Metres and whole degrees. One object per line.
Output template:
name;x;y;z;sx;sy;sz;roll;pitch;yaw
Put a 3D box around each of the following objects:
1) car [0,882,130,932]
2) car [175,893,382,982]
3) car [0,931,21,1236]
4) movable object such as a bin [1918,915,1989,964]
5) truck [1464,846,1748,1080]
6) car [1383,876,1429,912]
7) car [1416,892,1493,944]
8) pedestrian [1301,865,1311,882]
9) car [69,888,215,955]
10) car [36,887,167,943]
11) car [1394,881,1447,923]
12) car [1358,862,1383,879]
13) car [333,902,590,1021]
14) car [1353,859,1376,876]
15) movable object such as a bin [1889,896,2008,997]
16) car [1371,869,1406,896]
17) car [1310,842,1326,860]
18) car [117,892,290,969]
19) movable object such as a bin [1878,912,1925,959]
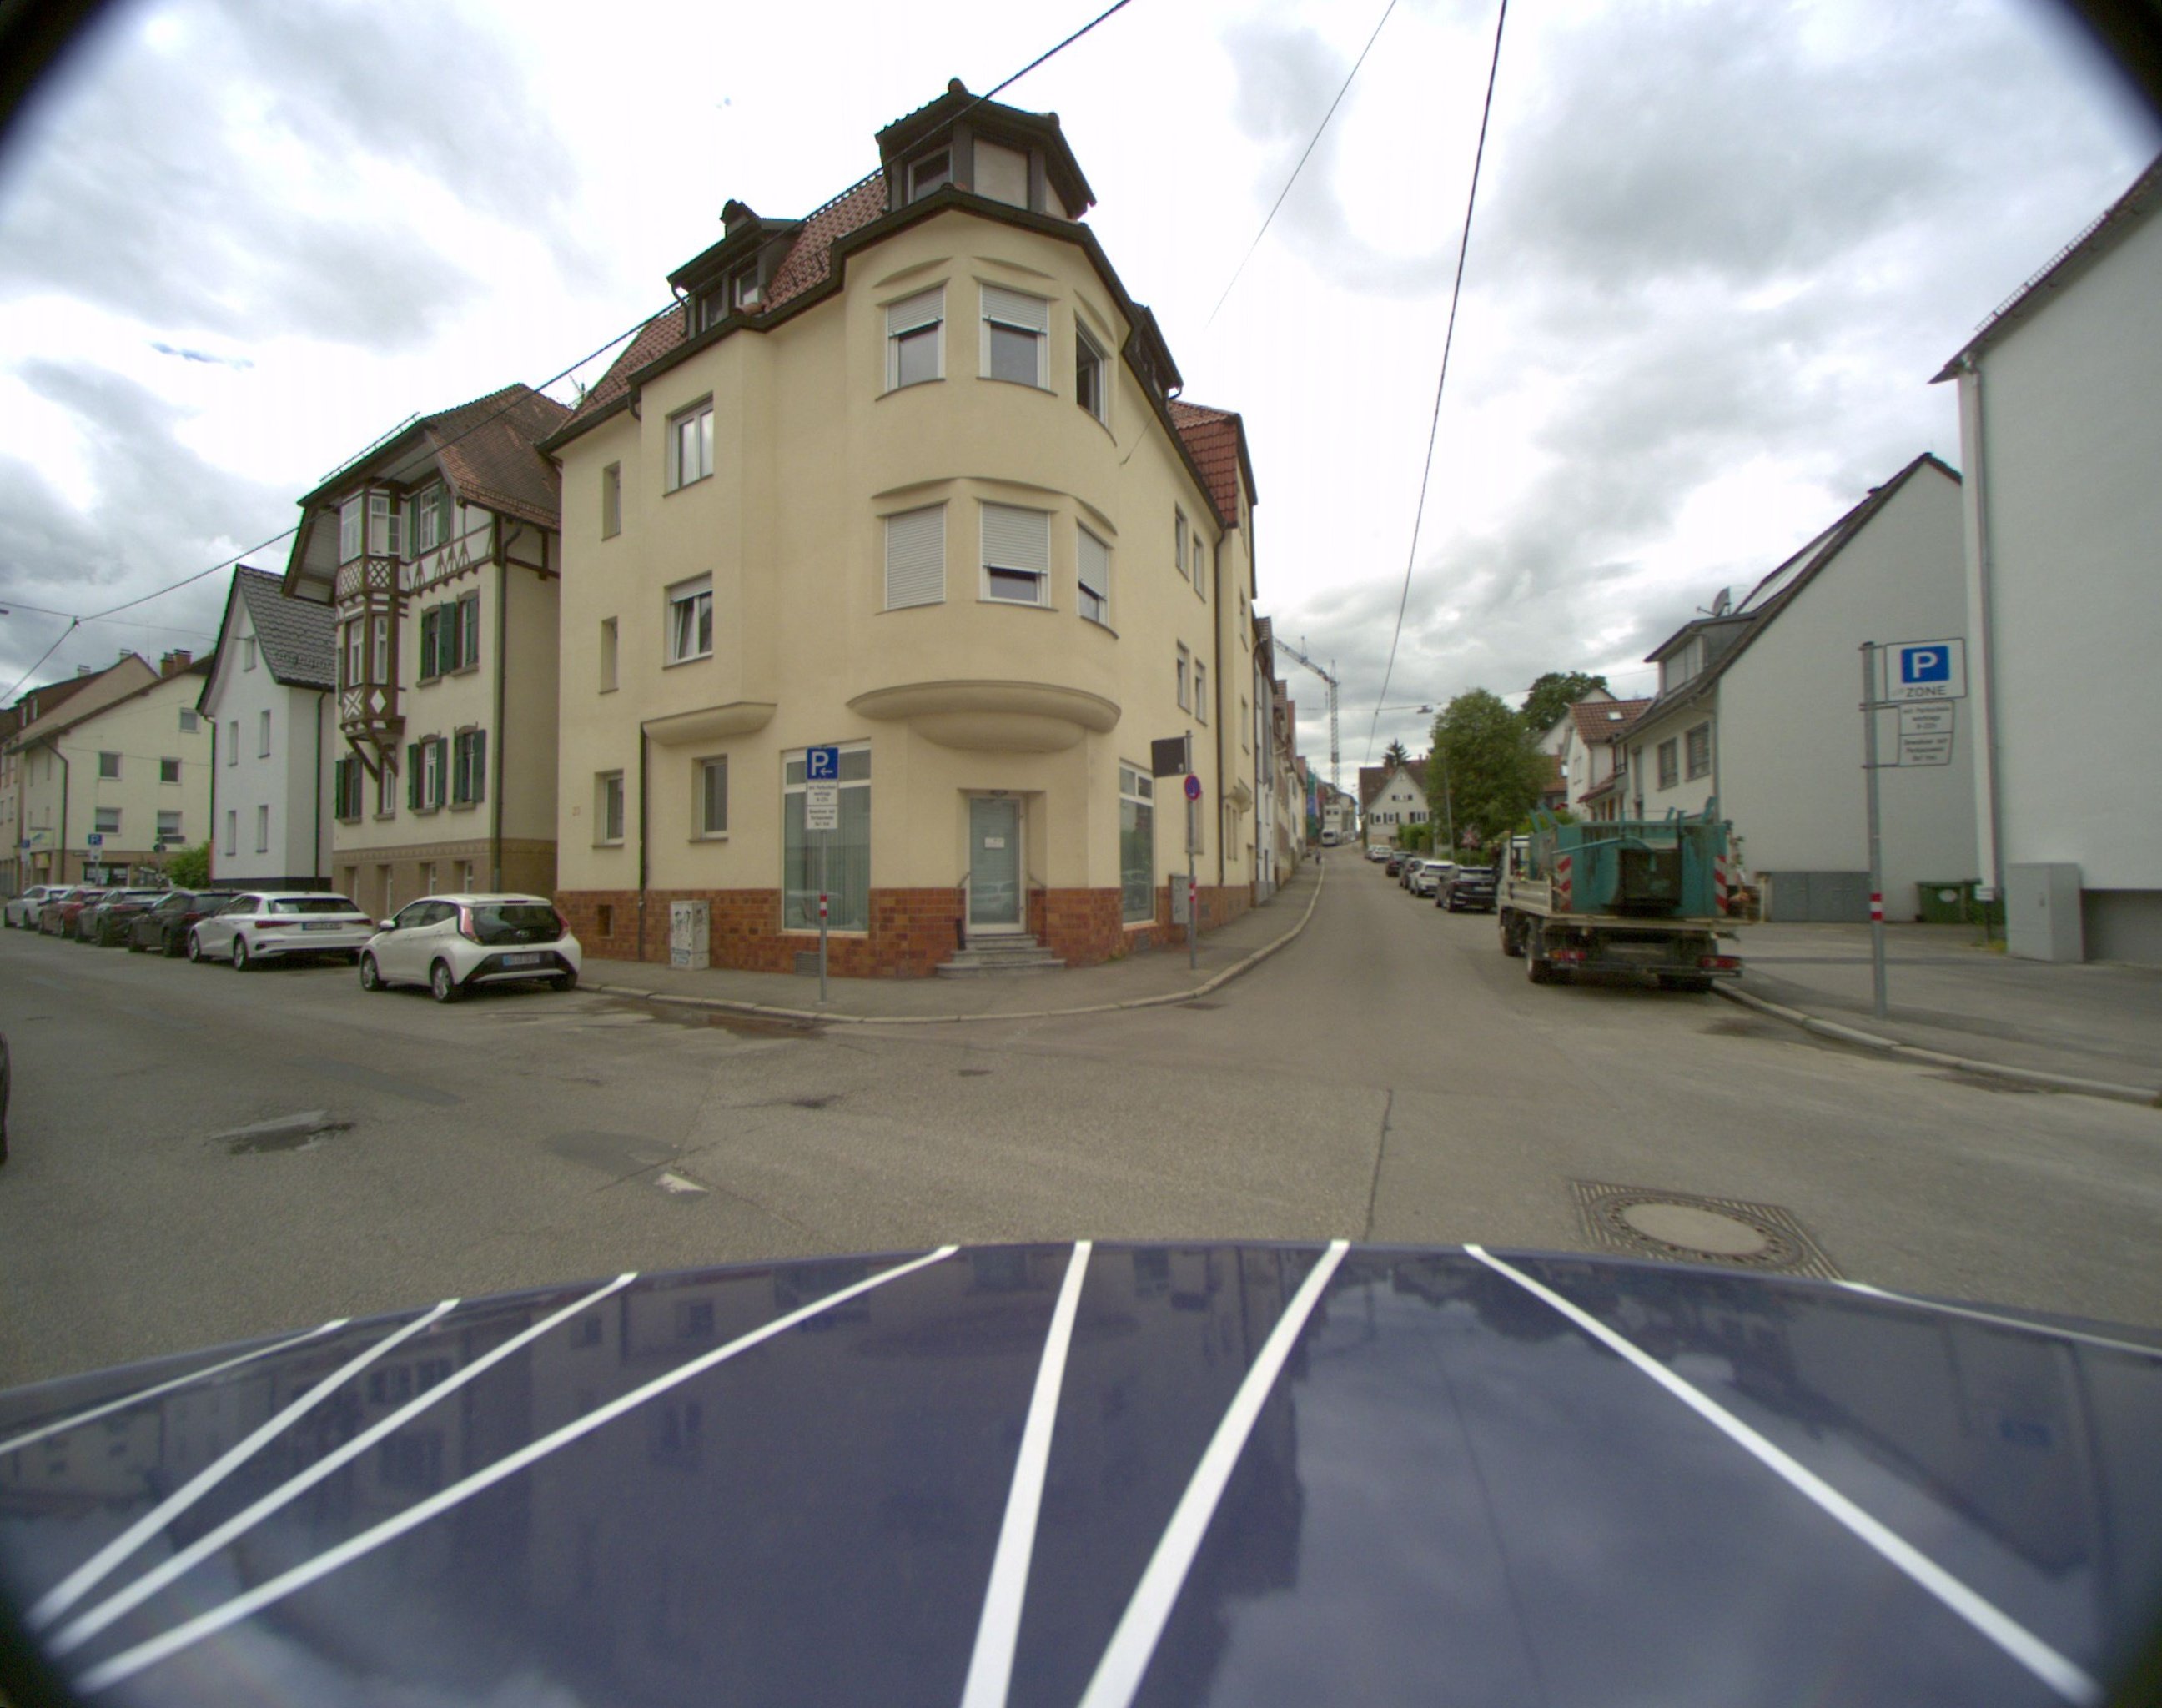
car;-33.497;1.718;25.033;4.338;1.422;1.762;0;-4;27
car;-15.878;1.560;14.994;4.358;1.423;1.762;0;-4;30
car;-7.674;1.205;3.998;4.017;1.534;1.827;-1;0;27
movable object such as a bin;20.478;1.984;17.860;0.856;1.050;0.894;0;-1;31
truck;7.387;1.268;11.592;2.312;2.536;6.300;0;-1;23
car;17.265;2.098;40.548;1.852;1.641;3.951;0;1;17
car;12.624;2.099;25.900;1.852;1.455;3.952;0;-1;19
pedestrian;19.810;1.672;66.891;0.756;1.480;0.567;-1;0;5
car;-24.550;1.714;19.842;4.073;1.499;1.762;0;-4;31
car;-29.143;1.781;22.602;4.056;1.440;1.762;0;-4;30
car;15.237;2.109;34.296;1.852;1.640;3.952;0;-1;19
car;26.330;1.505;69.118;1.852;1.441;3.951;0;1;17
car;-9.263;1.468;11.320;3.806;1.425;1.676;-1;-3;30
car;27.956;1.291;74.932;1.852;1.441;3.950;0;2;17
movable object such as a bin;14.865;1.543;13.063;1.009;1.608;1.003;-1;0;23
car;20.752;1.899;51.388;1.852;1.641;3.951;0;1;17
car;35.236;-0.450;113.039;2.190;2.630;5.833;0;1;18
car;-20.017;1.671;17.305;4.358;1.446;1.762;0;-4;31
movable object such as a bin;19.795;1.953;18.347;0.566;1.050;0.816;0;-1;31
